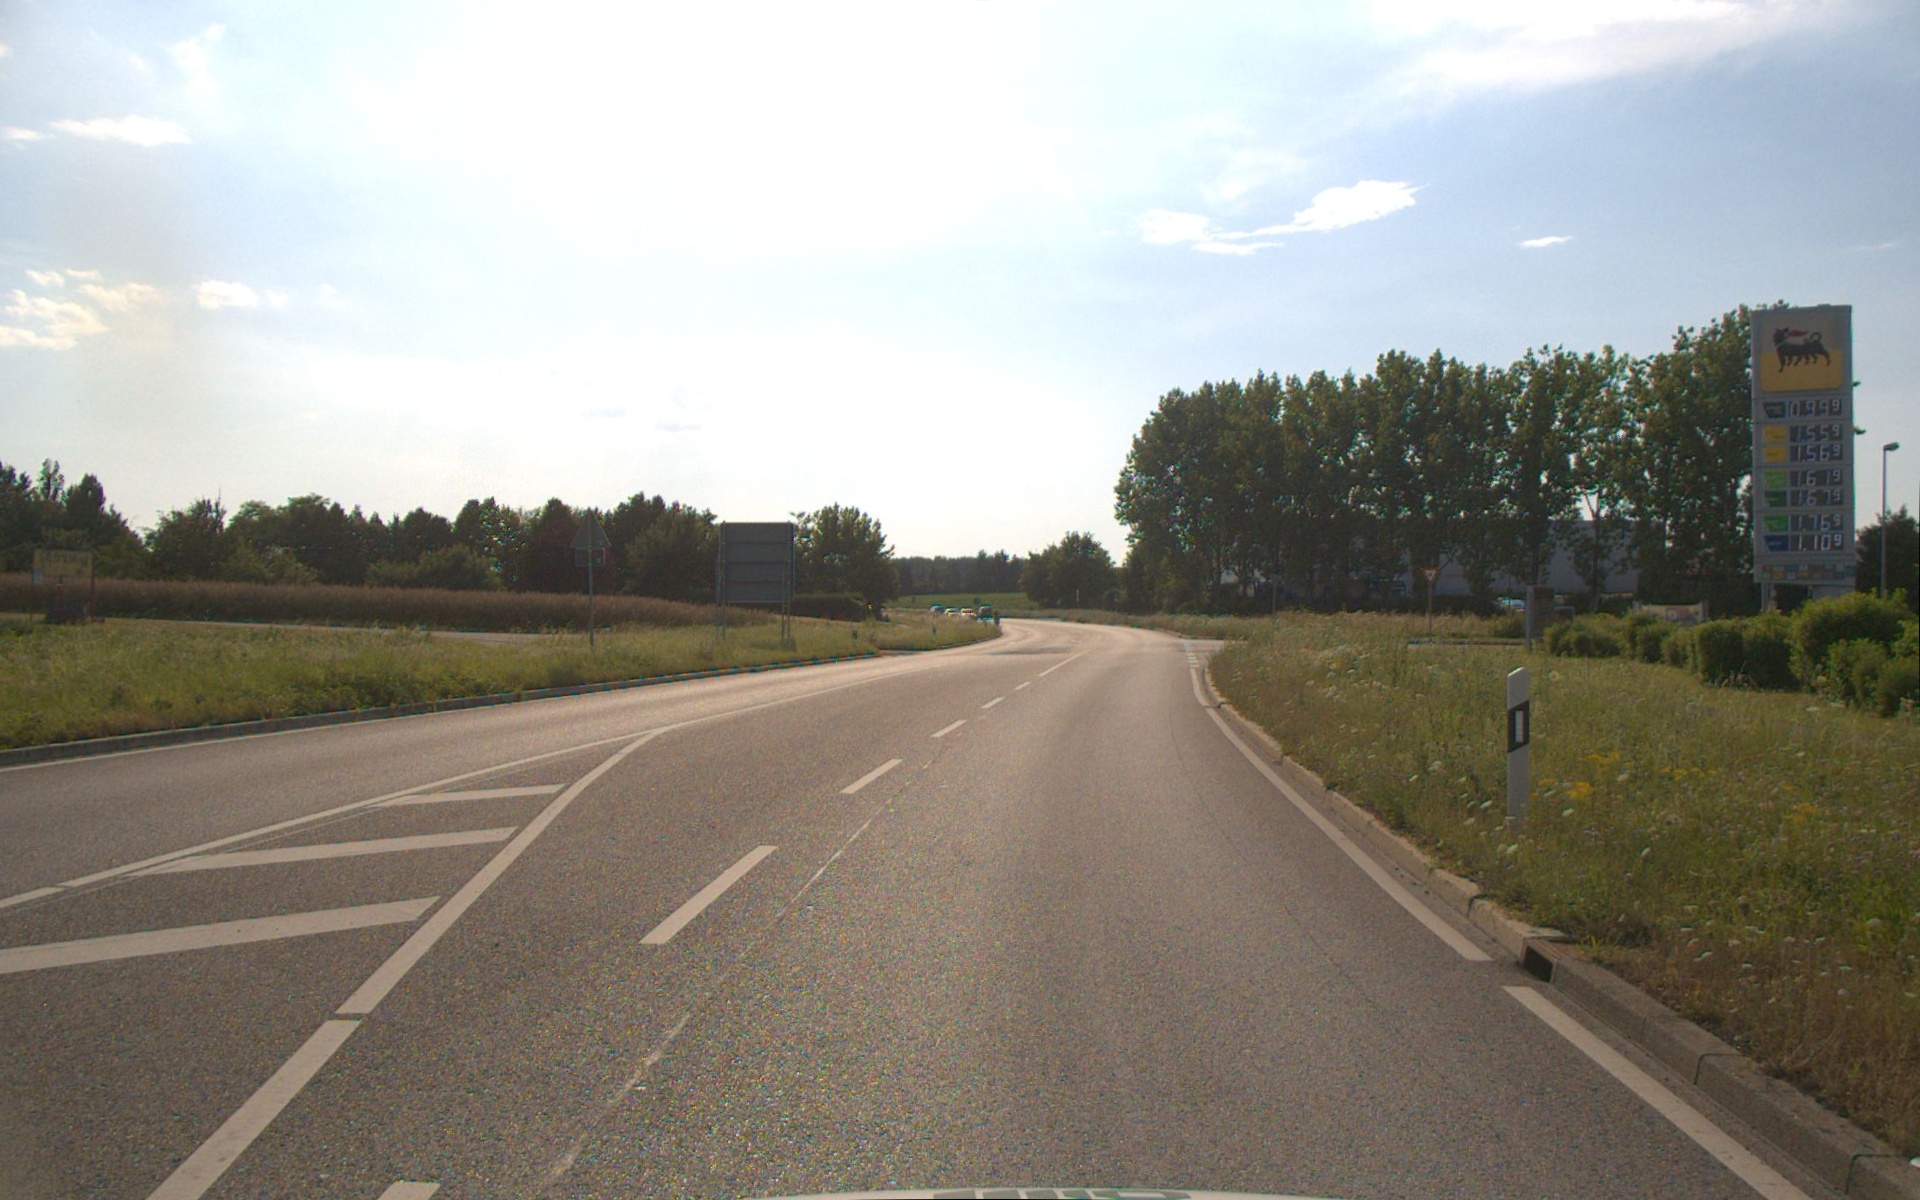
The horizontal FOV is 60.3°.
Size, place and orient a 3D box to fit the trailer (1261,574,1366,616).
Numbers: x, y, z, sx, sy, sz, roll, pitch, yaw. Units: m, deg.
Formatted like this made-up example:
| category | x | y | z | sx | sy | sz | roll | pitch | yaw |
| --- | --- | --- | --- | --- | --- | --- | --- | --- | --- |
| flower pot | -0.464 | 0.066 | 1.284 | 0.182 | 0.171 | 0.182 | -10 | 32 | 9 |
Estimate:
| category | x | y | z | sx | sy | sz | roll | pitch | yaw |
| --- | --- | --- | --- | --- | --- | --- | --- | --- | --- |
| trailer | 31.051 | -0.360 | 146.140 | 2.643 | 3.197 | 13.194 | 3 | -3 | -19 |

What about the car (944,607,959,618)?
| category | x | y | z | sx | sy | sz | roll | pitch | yaw |
| --- | --- | --- | --- | --- | --- | --- | --- | --- | --- |
| car | -1.070 | 1.574 | 208.957 | 1.650 | 1.372 | 3.634 | 2 | 1 | 1 |

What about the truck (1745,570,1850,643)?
| category | x | y | z | sx | sy | sz | roll | pitch | yaw |
| --- | --- | --- | --- | --- | --- | --- | --- | --- | --- |
| truck | 47.475 | 0.380 | 93.905 | 2.212 | 3.984 | 5.084 | 3 | -1 | -22 |

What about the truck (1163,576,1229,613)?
| category | x | y | z | sx | sy | sz | roll | pitch | yaw |
| --- | --- | --- | --- | --- | --- | --- | --- | --- | --- |
| truck | 23.084 | -0.450 | 162.142 | 2.472 | 3.435 | 9.638 | 3 | -1 | -17 |

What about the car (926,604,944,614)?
| category | x | y | z | sx | sy | sz | roll | pitch | yaw |
| --- | --- | --- | --- | --- | --- | --- | --- | --- | --- |
| car | -3.538 | 1.288 | 234.485 | 1.817 | 1.432 | 3.634 | 3 | -1 | -11 |

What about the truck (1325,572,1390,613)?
| category | x | y | z | sx | sy | sz | roll | pitch | yaw |
| --- | --- | --- | --- | --- | --- | --- | --- | --- | --- |
| truck | 33.428 | -0.572 | 139.306 | 2.581 | 3.217 | 5.676 | 3 | -2 | -19 |

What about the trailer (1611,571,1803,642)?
| category | x | y | z | sx | sy | sz | roll | pitch | yaw |
| --- | --- | --- | --- | --- | --- | --- | --- | --- | --- |
| trailer | 45.171 | 0.420 | 100.762 | 2.207 | 3.984 | 13.658 | 3 | -1 | -17 |

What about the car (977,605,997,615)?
| category | x | y | z | sx | sy | sz | roll | pitch | yaw |
| --- | --- | --- | --- | --- | --- | --- | --- | --- | --- |
| car | 3.354 | 1.256 | 206.801 | 1.930 | 1.171 | 3.861 | 2 | -1 | -7 |
